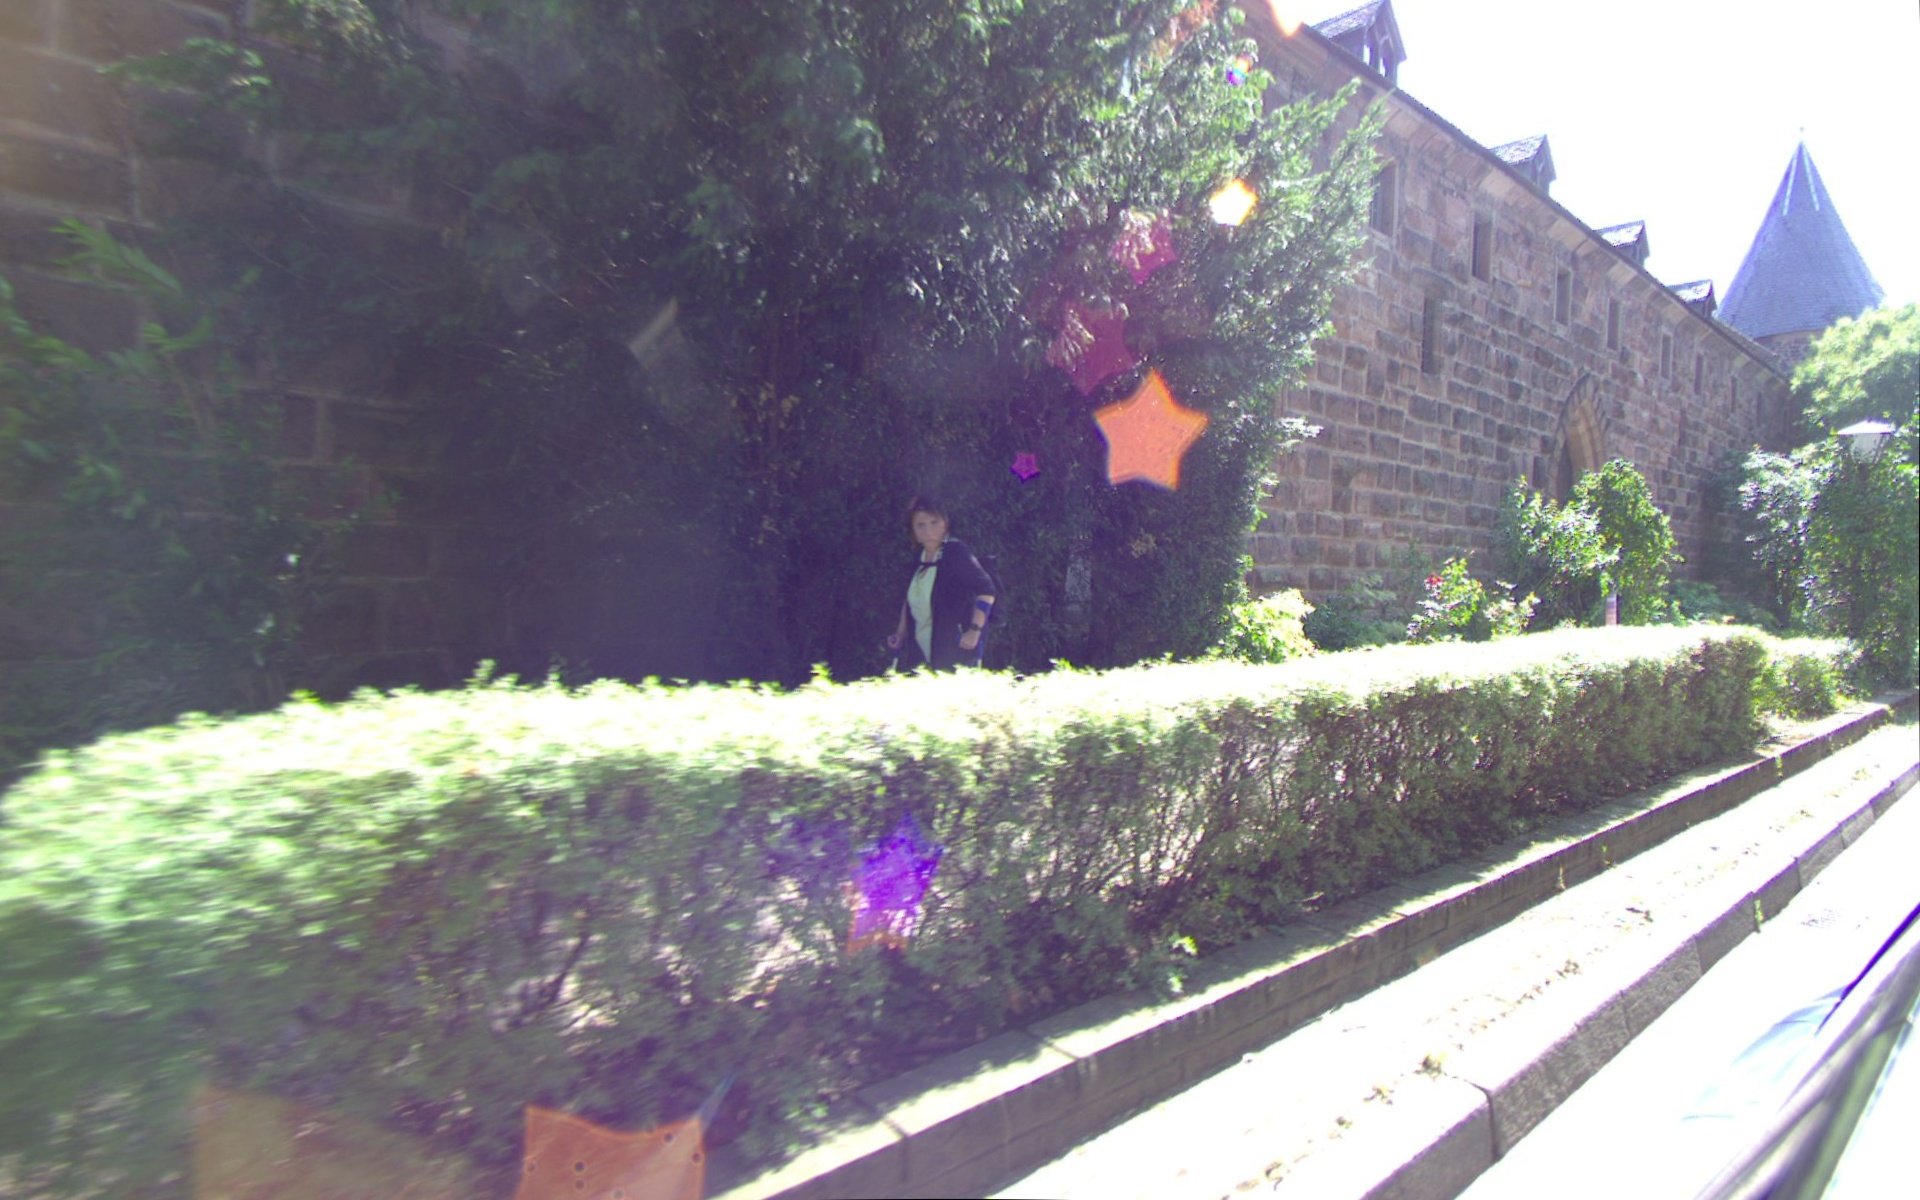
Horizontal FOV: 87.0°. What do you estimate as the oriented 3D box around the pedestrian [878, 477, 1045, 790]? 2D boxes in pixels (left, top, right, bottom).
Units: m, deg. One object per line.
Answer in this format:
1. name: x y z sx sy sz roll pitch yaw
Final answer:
1. pedestrian: 0.004 0.175 5.907 0.692 1.673 0.700 0 0 -38
